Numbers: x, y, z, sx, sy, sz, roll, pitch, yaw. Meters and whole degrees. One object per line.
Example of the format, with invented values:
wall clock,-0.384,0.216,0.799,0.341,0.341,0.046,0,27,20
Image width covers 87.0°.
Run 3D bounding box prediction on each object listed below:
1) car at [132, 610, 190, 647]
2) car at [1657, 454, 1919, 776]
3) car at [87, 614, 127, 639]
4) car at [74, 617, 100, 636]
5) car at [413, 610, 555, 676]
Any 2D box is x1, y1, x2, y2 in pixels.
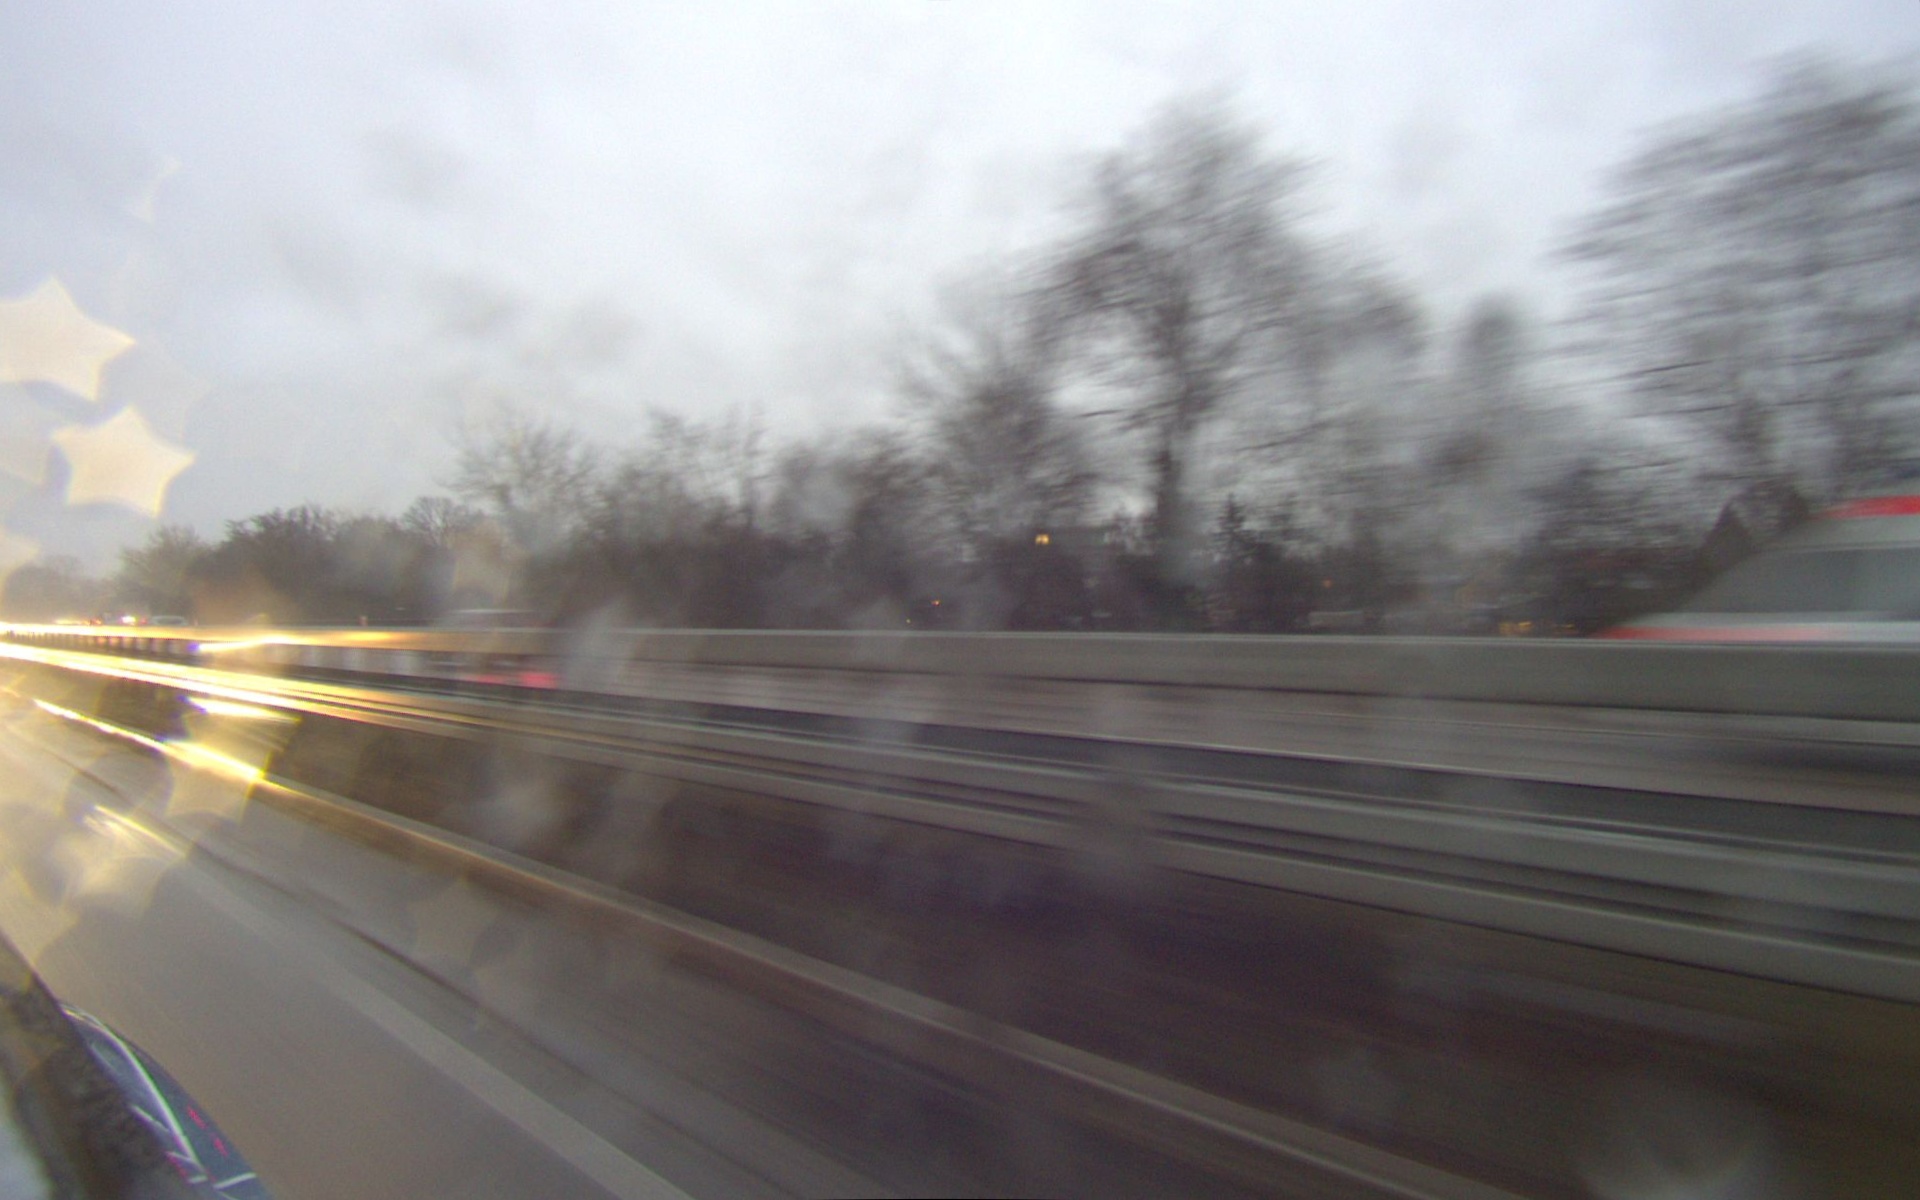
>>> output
car,-44.112,1.535,55.829,4.303,1.929,1.826,-1,-1,42
car,8.696,0.091,7.662,5.415,2.455,1.826,-1,-1,42
car,-67.384,2.096,79.926,4.303,1.929,1.826,-1,-1,42
car,-83.728,2.533,97.023,1.823,1.817,3.998,-1,-1,-42
car,-12.299,1.087,26.024,4.303,1.540,1.826,-2,-2,42
